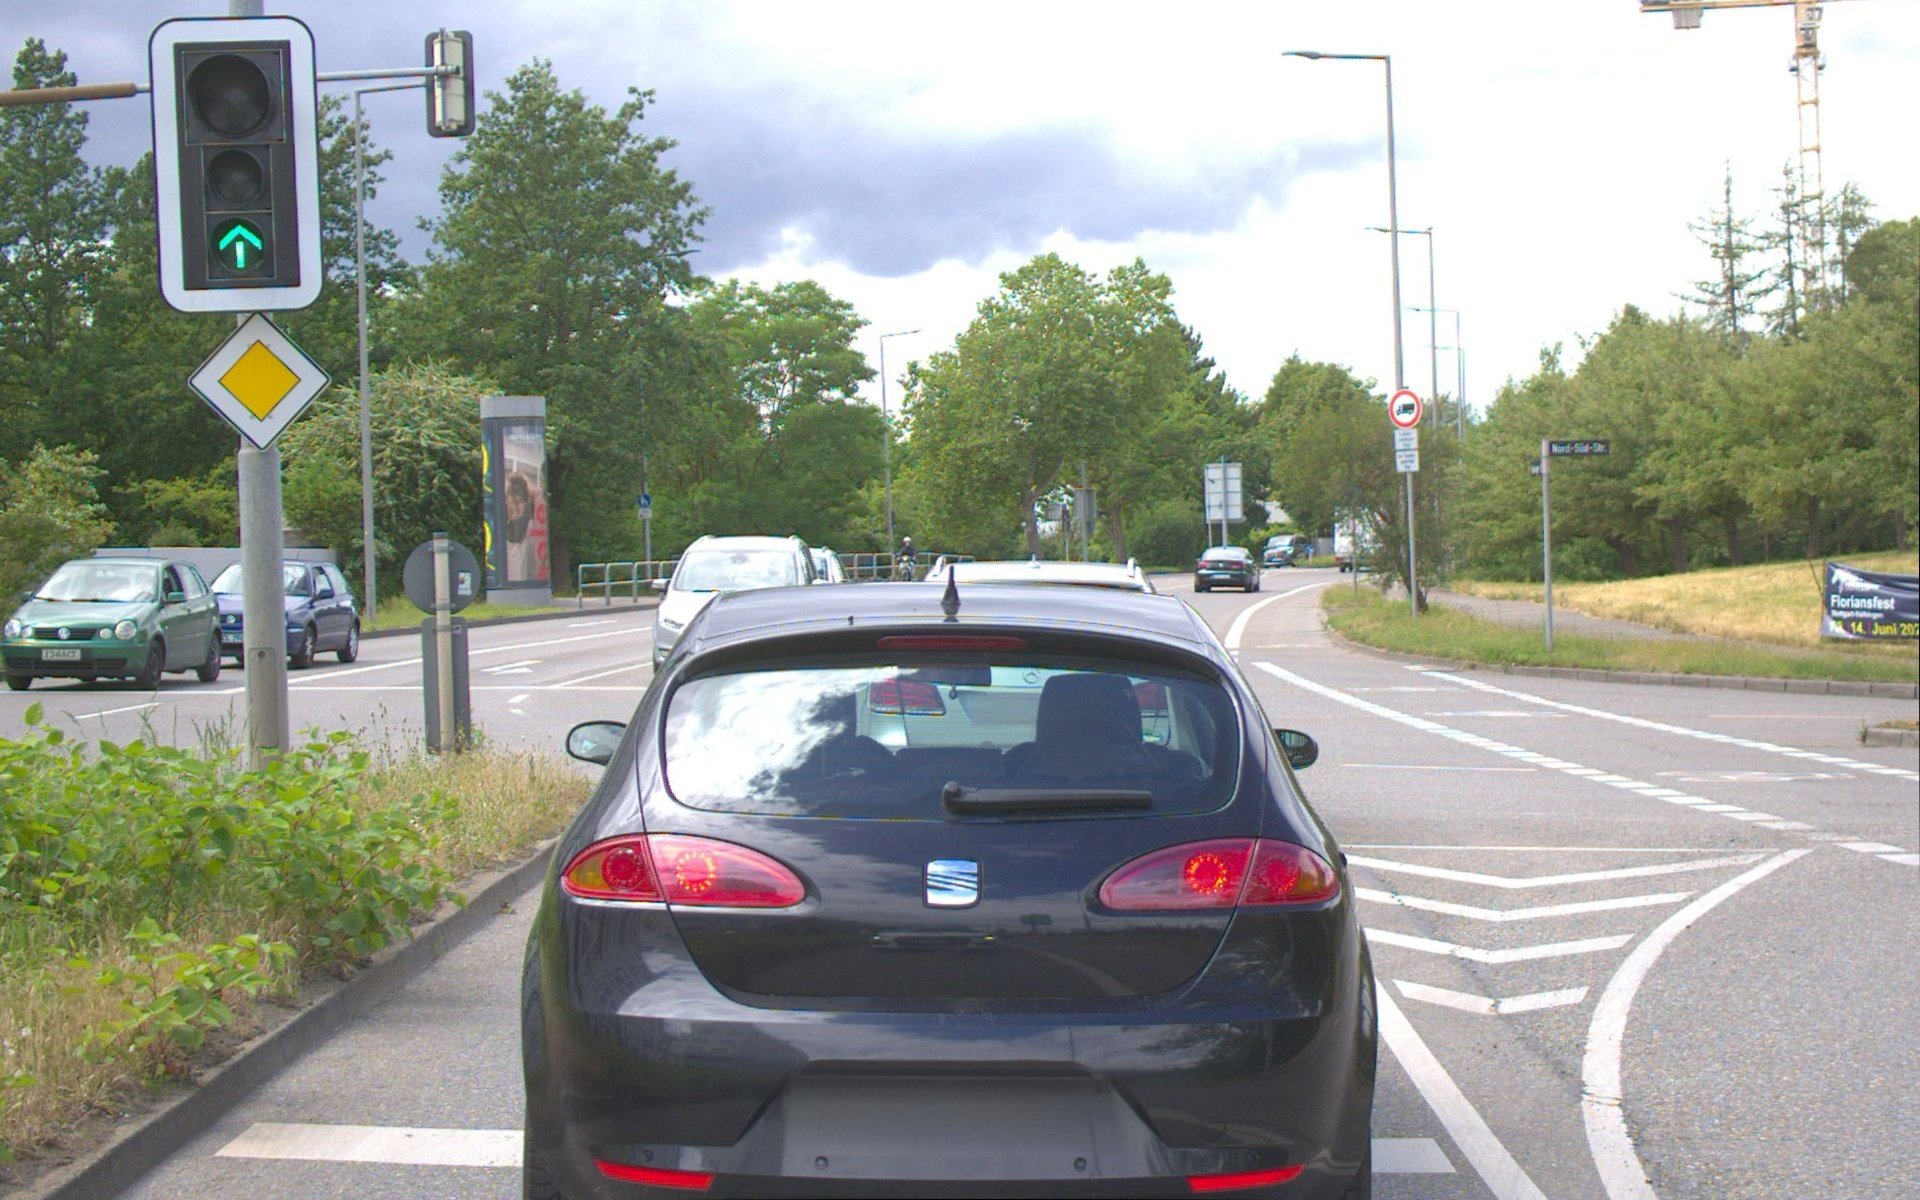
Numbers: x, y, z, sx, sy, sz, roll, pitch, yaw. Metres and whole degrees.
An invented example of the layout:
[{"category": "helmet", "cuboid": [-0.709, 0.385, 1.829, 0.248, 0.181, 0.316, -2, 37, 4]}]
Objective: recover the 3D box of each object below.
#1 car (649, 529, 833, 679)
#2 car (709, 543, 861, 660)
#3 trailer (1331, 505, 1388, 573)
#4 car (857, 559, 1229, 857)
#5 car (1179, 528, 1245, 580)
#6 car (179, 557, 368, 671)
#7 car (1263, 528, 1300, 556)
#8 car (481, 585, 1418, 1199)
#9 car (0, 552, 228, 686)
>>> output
[{"category": "car", "cuboid": [-2.584, -0.001, 41.530, 1.820, 1.681, 4.645, 1, 1, 1]}, {"category": "car", "cuboid": [-2.372, -0.013, 47.494, 1.660, 1.513, 4.084, 1, 1, 3]}, {"category": "trailer", "cuboid": [18.780, -2.842, 161.465, 2.492, 3.063, 5.585, 1, 0, 8]}, {"category": "car", "cuboid": [0.427, 0.526, 18.988, 1.834, 1.462, 3.751, 1, 0, 1]}, {"category": "car", "cuboid": [7.930, -1.449, 107.807, 1.994, 1.560, 4.470, -1, 1, 5]}, {"category": "car", "cuboid": [-9.049, 0.153, 45.572, 1.554, 1.414, 3.895, 0, 1, 3]}, {"category": "car", "cuboid": [18.722, -3.357, 200.165, 1.715, 1.576, 3.740, 1, 0, 11]}, {"category": "car", "cuboid": [-0.039, 0.700, 8.036, 1.711, 1.412, 3.459, 0, 1, -1]}, {"category": "car", "cuboid": [-9.486, 0.175, 38.718, 1.605, 1.427, 3.752, 0, 1, 2]}]
